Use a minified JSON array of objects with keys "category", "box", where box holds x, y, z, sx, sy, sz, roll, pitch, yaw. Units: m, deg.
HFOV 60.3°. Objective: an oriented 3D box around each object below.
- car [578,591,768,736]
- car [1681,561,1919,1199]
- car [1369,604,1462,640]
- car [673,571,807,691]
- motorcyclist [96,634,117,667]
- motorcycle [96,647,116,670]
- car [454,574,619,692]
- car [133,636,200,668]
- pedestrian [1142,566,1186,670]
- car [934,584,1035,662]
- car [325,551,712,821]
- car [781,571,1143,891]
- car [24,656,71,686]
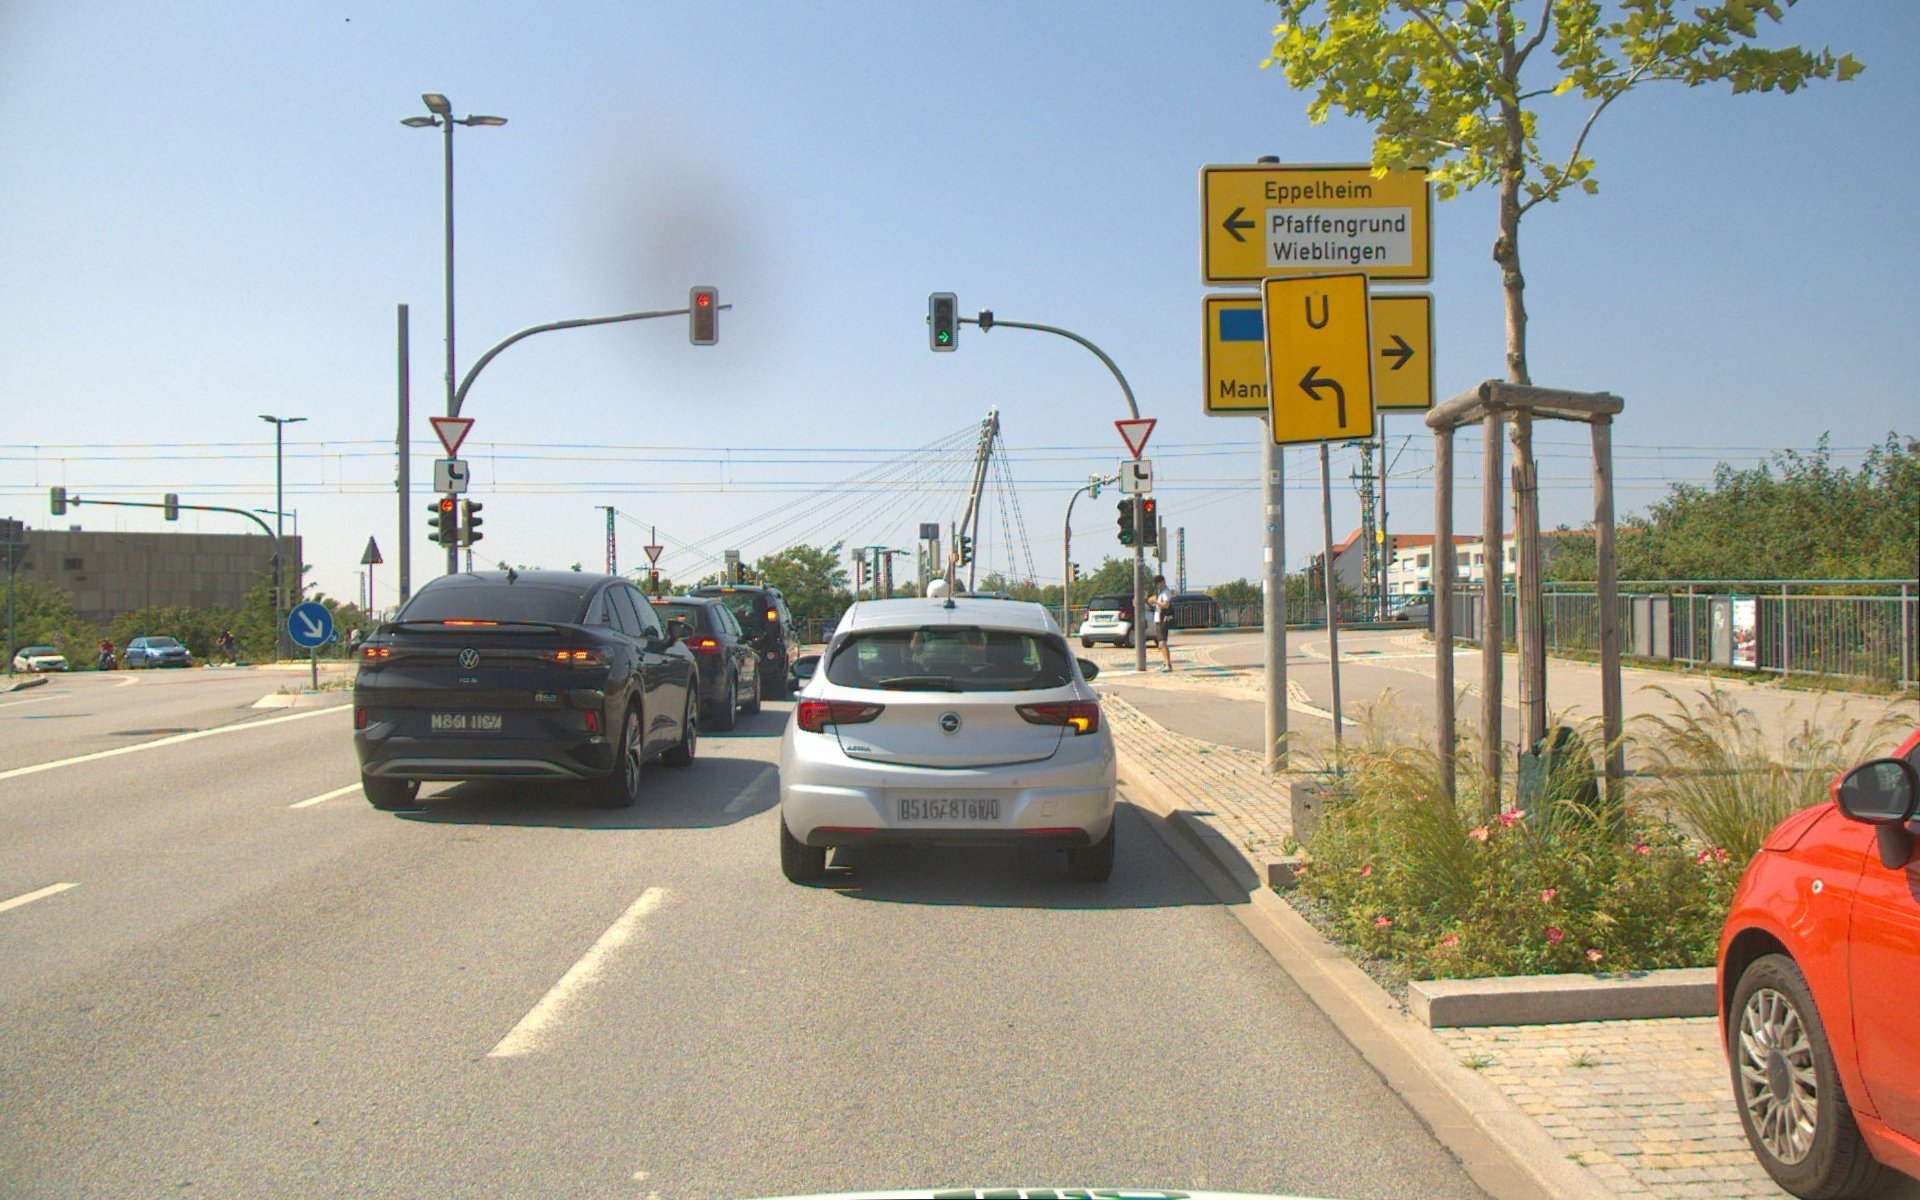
[{"category":"car","box":[-3.175,0.664,18.951,1.543,1.459,3.785,1,0,-1]},{"category":"car","box":[2.804,0.658,2.954,1.577,1.522,3.353,-2,0,1]},{"category":"car","box":[19.836,0.945,72.042,3.564,1.512,1.684,1,0,-15]},{"category":"car","box":[-3.226,0.441,24.866,1.616,1.643,3.818,1,0,-2]},{"category":"motorcyclist","box":[-39.307,2.332,76.196,0.745,1.520,0.668,1,-1,-37]},{"category":"motorcycle","box":[-39.329,2.693,76.175,0.515,0.971,1.909,1,0,-37]},{"category":"car","box":[-6.119,0.457,24.292,1.565,1.574,3.760,1,0,-2]},{"category":"car","box":[-35.088,2.274,73.103,1.805,1.354,3.943,1,-2,-39]},{"category":"pedestrian","box":[3.741,0.335,30.407,0.634,1.868,0.797,-2,-1,-2]},{"category":"car","box":[0.600,0.465,36.951,1.687,1.591,4.004,1,1,9]},{"category":"car","box":[-3.106,0.553,12.600,1.765,1.670,4.365,1,0,0]},{"category":"car","box":[-0.071,0.639,9.899,1.708,1.503,3.998,1,0,-3]},{"category":"car","box":[-46.754,3.619,84.746,1.594,1.362,2.883,1,0,-40]}]
